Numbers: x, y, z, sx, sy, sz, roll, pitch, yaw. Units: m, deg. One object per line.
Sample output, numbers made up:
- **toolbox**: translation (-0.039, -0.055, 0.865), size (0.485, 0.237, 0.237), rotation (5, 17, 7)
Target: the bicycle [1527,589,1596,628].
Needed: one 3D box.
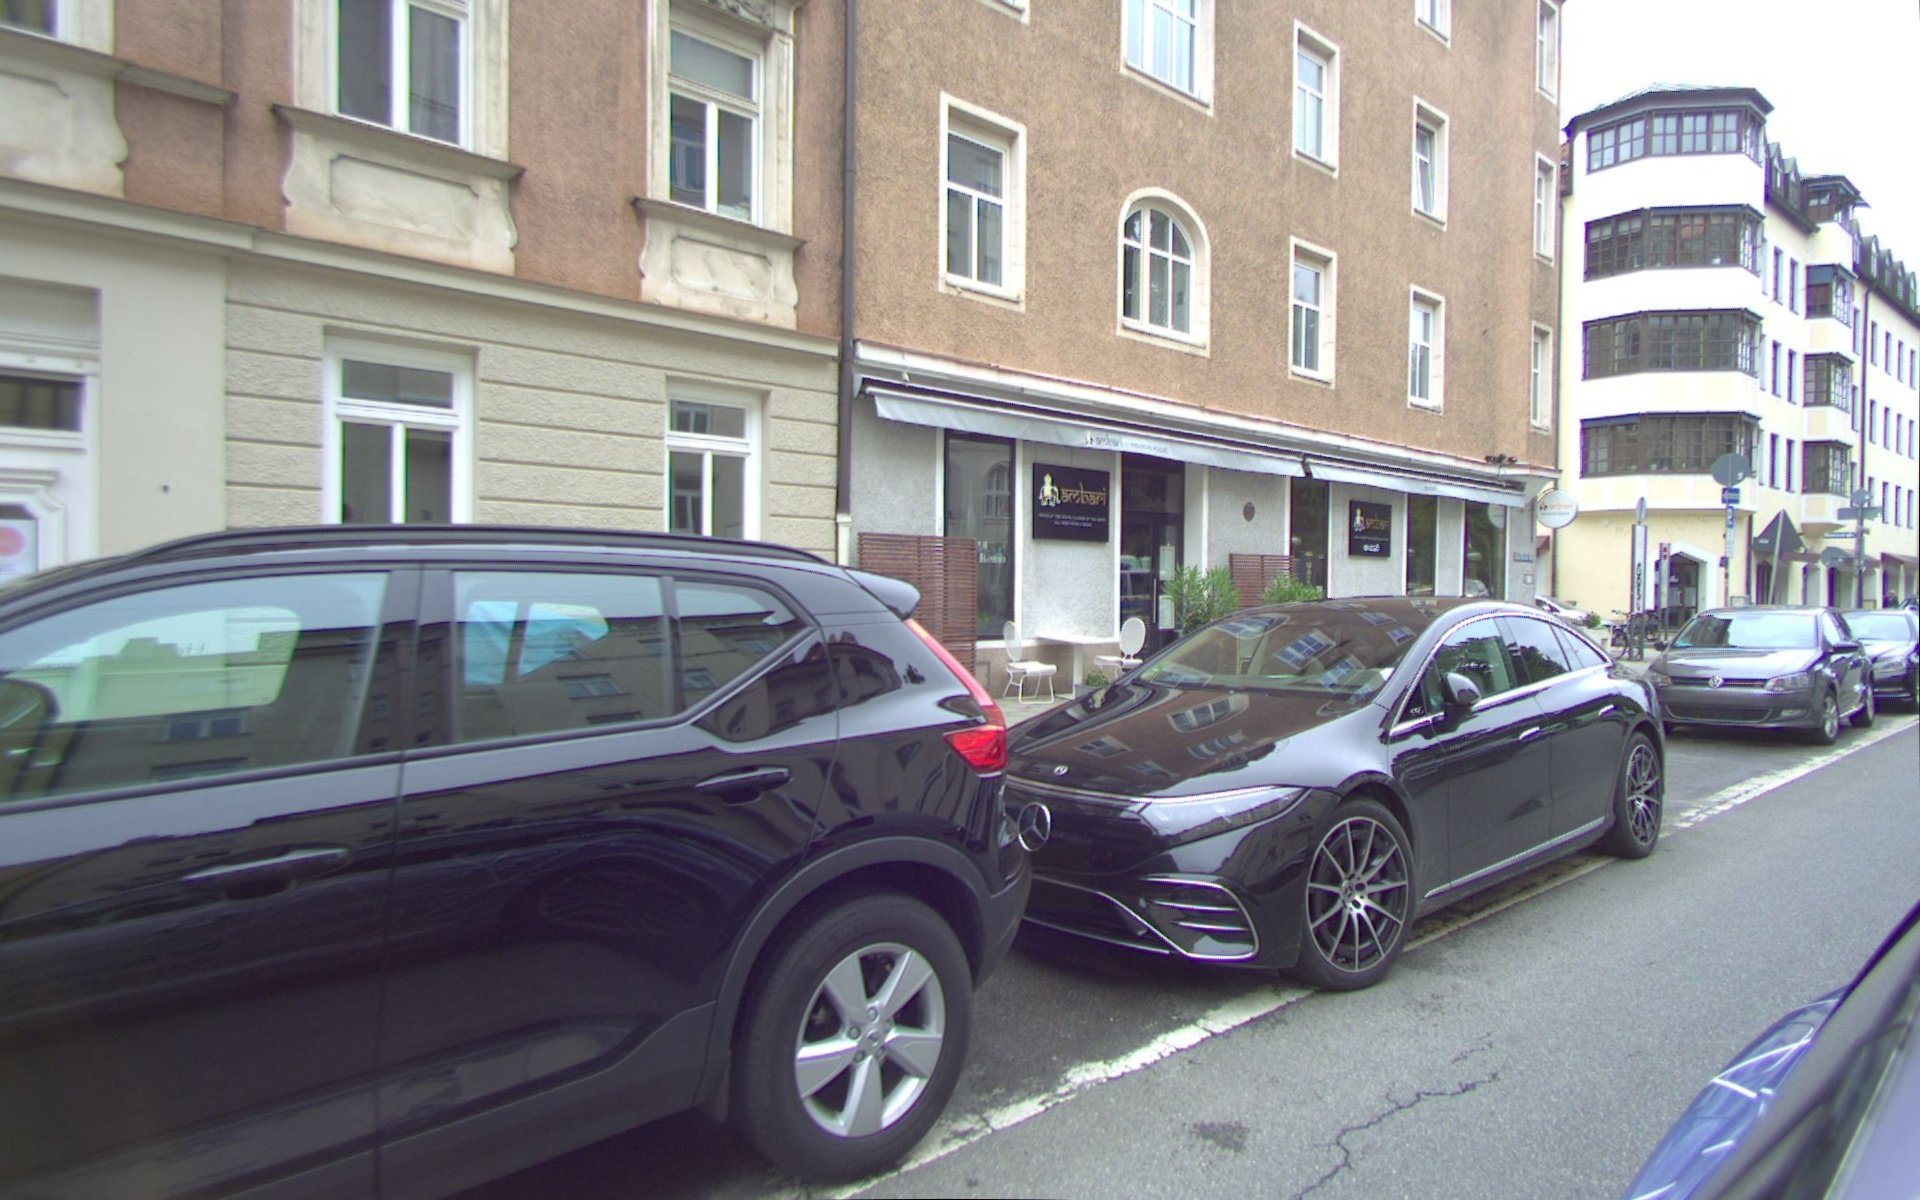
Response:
- **bicycle**: translation (20.085, 0.272, 33.840), size (0.506, 1.201, 1.906), rotation (0, 1, -37)

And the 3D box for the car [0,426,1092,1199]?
- **car**: translation (-1.852, 0.606, 2.295), size (4.327, 1.698, 1.697), rotation (-1, -2, -38)

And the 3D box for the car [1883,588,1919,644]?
- **car**: translation (30.242, 0.469, 31.052), size (4.414, 1.643, 2.112), rotation (0, 1, -38)

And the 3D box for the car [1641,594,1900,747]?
- **car**: translation (9.513, 0.675, 11.765), size (4.109, 1.411, 1.576), rotation (-1, 2, -40)

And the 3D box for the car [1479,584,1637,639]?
- **car**: translation (18.167, 0.326, 30.872), size (1.717, 1.458, 3.748), rotation (3, 0, -34)

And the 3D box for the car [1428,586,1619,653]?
- **car**: translation (14.373, 0.426, 25.979), size (1.858, 1.506, 3.884), rotation (-1, 2, -37)

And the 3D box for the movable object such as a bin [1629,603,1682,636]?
- **movable object such as a bin**: translation (20.787, 0.583, 30.260), size (0.671, 0.911, 1.126), rotation (0, 2, -37)

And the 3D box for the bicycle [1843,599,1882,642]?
- **bicycle**: translation (26.364, 0.589, 29.561), size (2.015, 1.173, 0.430), rotation (-1, 3, -37)

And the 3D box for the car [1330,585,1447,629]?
- **car**: translation (14.920, 0.213, 35.364), size (1.608, 1.353, 3.457), rotation (-1, 3, -34)

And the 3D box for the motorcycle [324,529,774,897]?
- **motorcycle**: translation (-2.033, 0.457, 5.134), size (1.960, 1.523, 0.874), rotation (0, 1, -37)

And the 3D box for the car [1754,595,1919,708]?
- **car**: translation (13.633, 0.648, 15.066), size (4.701, 1.422, 1.851), rotation (0, 1, -39)

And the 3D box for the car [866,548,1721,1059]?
- **car**: translation (2.301, 0.612, 5.653), size (5.537, 1.572, 1.935), rotation (0, 0, -40)

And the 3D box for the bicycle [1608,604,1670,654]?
- **bicycle**: translation (14.714, 0.631, 21.927), size (1.769, 1.017, 0.497), rotation (2, 2, -36)
